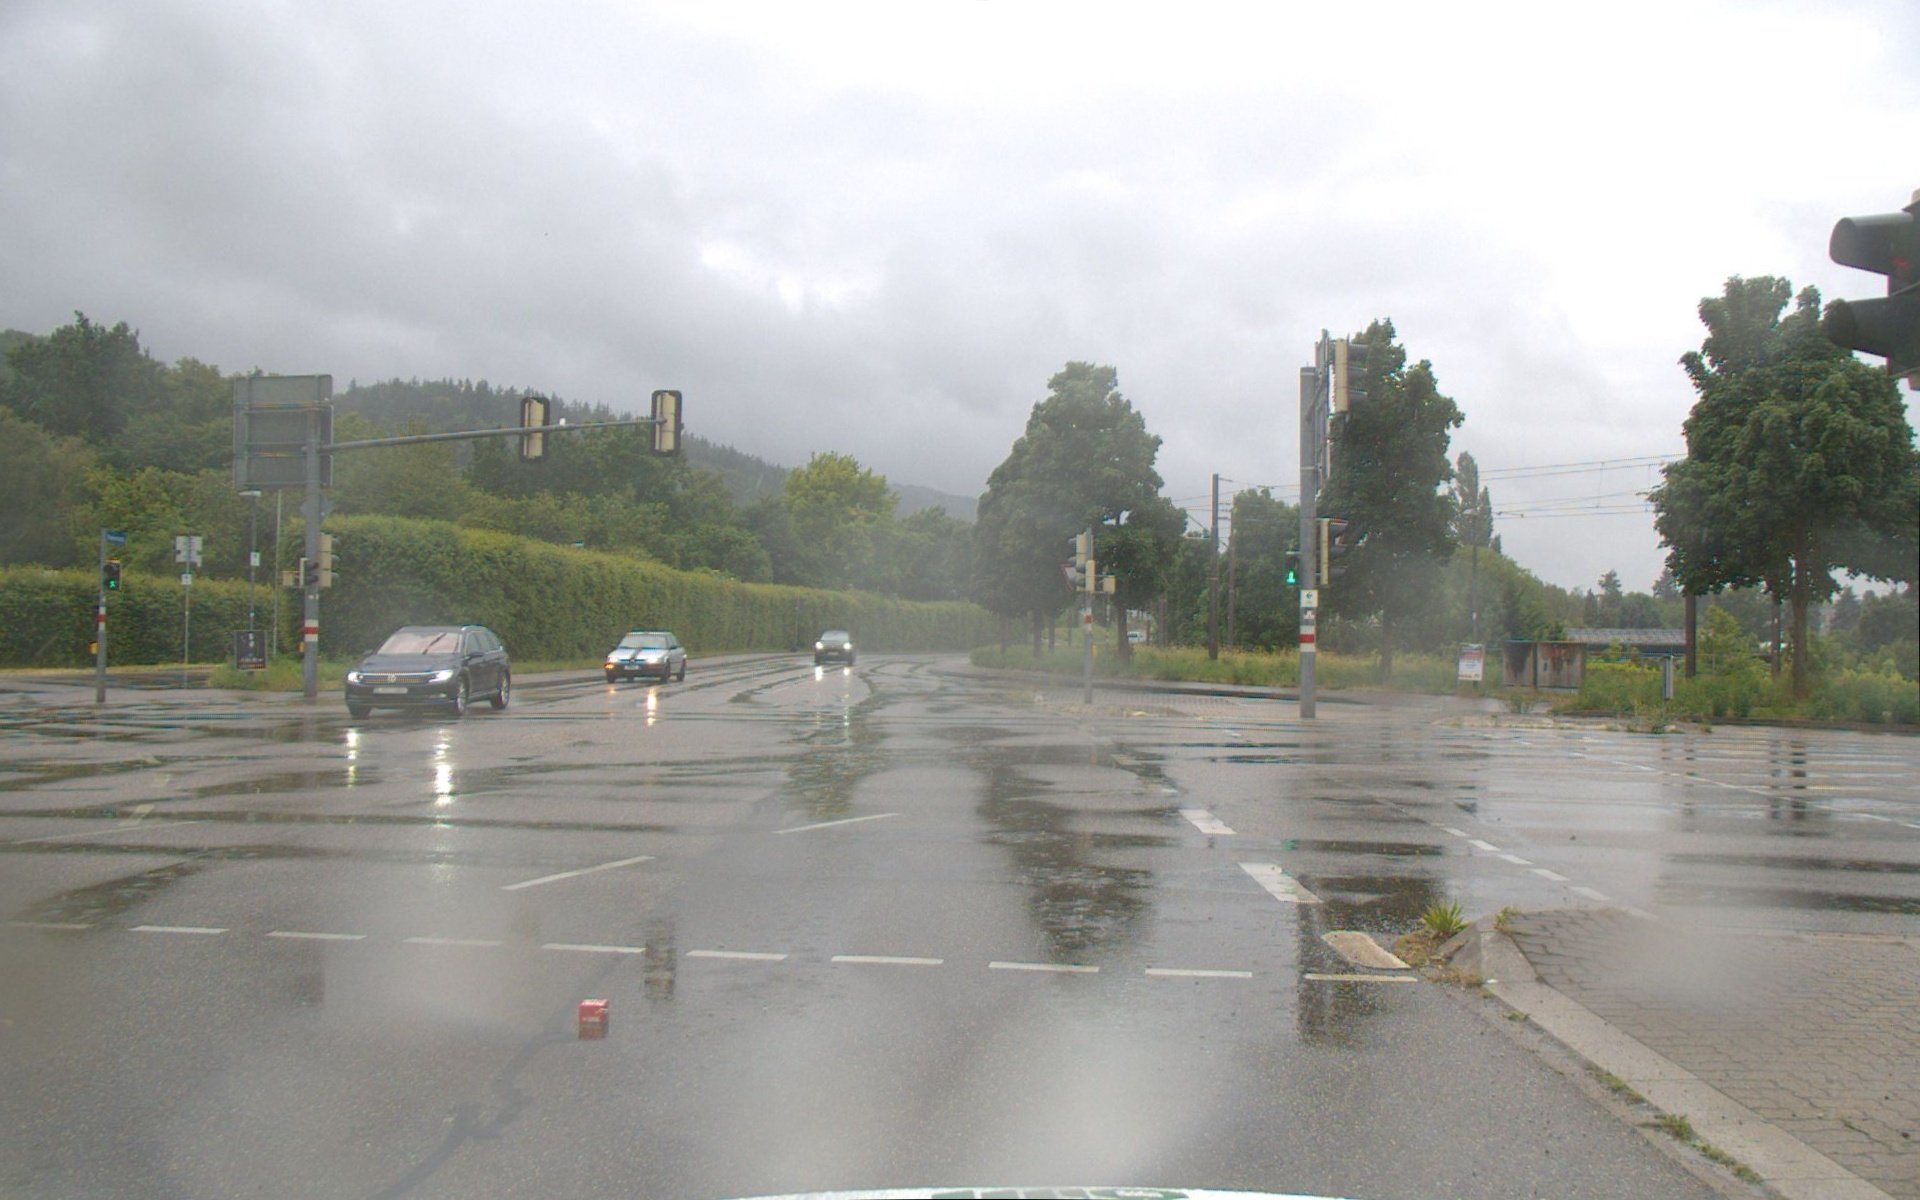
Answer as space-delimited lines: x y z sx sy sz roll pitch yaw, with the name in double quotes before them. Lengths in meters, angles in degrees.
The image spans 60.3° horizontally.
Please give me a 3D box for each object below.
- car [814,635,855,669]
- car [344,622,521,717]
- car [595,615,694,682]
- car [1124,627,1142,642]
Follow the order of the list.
"car" -5.892 2.414 77.892 1.749 1.531 4.058 0 -1 -2
"car" -8.921 1.132 28.361 1.674 1.491 4.451 0 -1 -1
"car" -8.746 1.310 46.173 1.995 1.738 4.065 1 0 -1
"car" 23.042 4.551 219.844 1.912 1.937 4.123 0 -1 13
